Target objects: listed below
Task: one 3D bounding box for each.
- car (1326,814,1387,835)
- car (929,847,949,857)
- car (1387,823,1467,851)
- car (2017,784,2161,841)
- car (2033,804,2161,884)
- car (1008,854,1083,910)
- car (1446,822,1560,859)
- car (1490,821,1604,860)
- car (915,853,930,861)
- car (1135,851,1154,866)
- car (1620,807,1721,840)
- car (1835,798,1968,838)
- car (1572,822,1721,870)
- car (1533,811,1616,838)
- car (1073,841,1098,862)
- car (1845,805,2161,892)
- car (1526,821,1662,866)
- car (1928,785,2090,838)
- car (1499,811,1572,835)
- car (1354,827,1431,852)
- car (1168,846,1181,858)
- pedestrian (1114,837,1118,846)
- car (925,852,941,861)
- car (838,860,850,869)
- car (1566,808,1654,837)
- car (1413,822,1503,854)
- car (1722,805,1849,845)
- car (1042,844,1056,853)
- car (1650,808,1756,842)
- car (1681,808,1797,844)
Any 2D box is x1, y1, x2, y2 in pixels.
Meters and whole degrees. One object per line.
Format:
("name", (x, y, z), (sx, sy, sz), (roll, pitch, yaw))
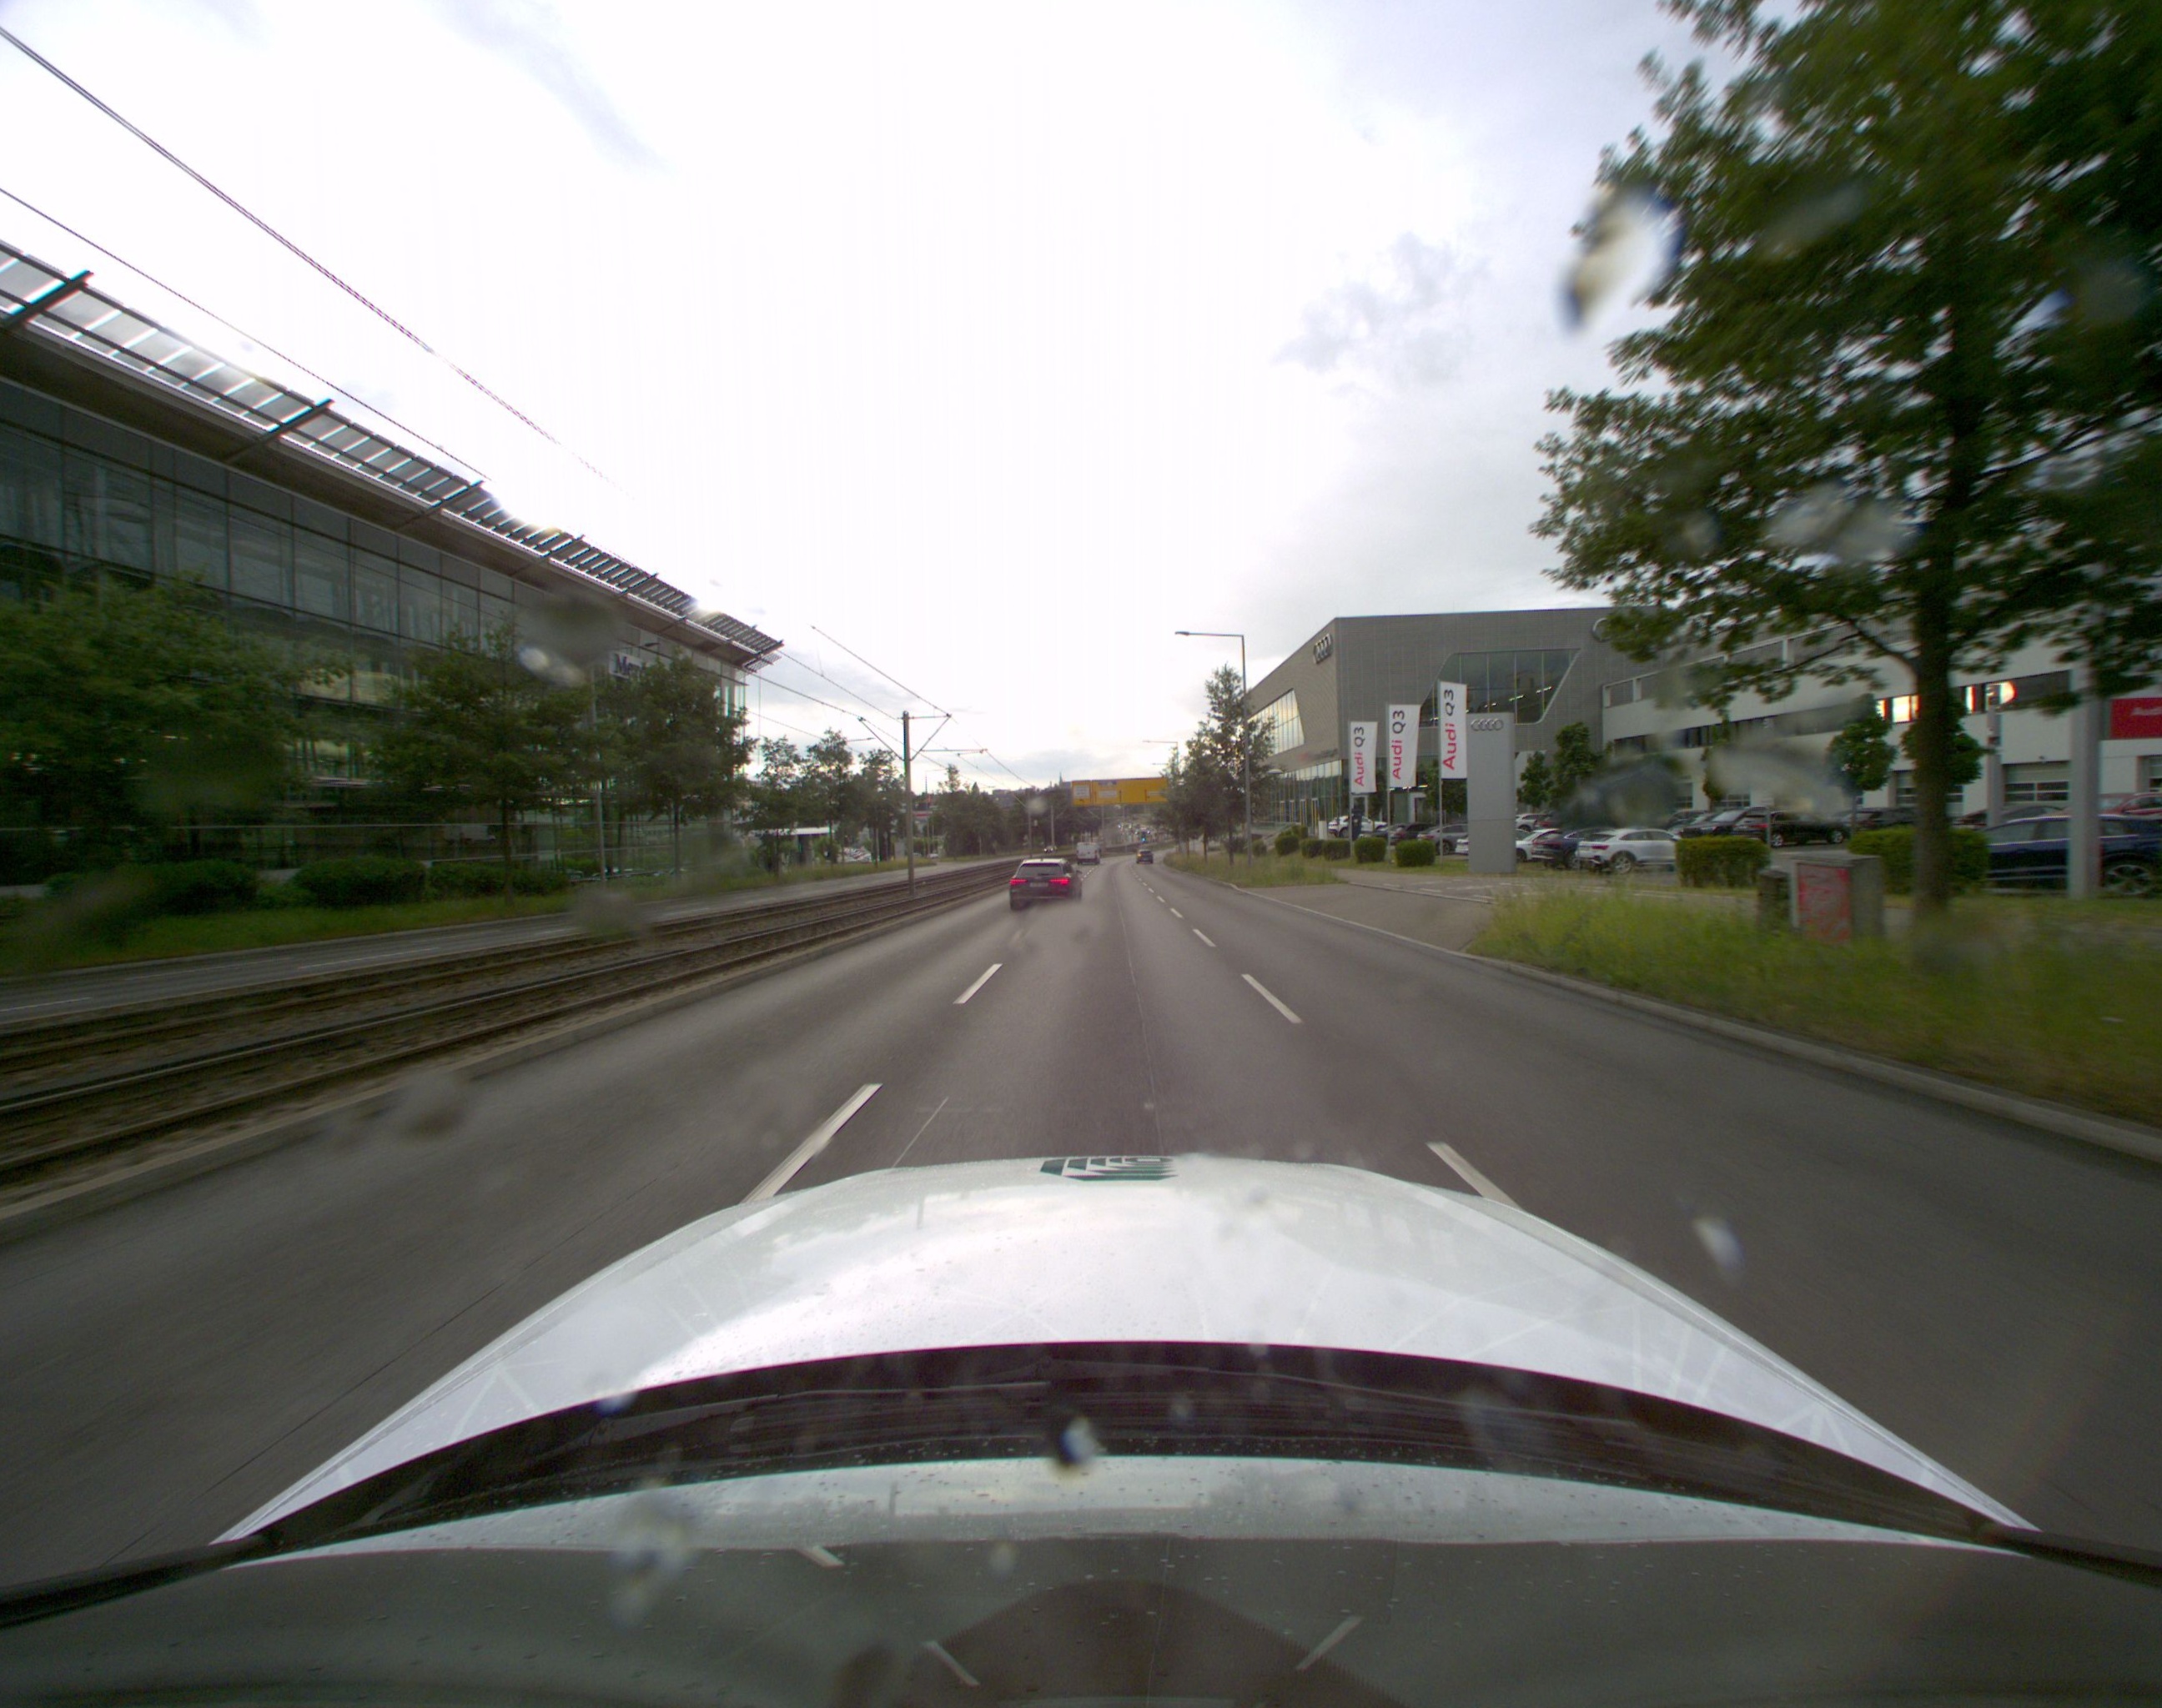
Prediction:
("car", (21.628, -2.293, 64.003), (4.244, 1.574, 1.693), (-1, 1, 0))
("car", (-22.532, -0.291, 129.326), (1.983, 1.650, 4.008), (0, -1, 7))
("car", (20.574, -1.018, 48.552), (4.091, 1.574, 1.693), (-1, 1, 0))
("car", (36.213, -1.436, 28.453), (4.505, 1.855, 2.003), (-1, 0, 5))
("car", (22.879, -0.244, 17.059), (1.778, 1.593, 3.527), (-4, 1, -30))
("car", (-0.948, 0.754, 24.136), (1.757, 1.463, 4.630), (-1, 0, 3))
("car", (19.923, -0.634, 38.576), (4.504, 1.594, 1.692), (-2, -1, 0))
("car", (20.551, -0.574, 36.013), (4.091, 1.594, 1.692), (-1, -1, 0))
("car", (-30.410, 0.570, 155.782), (2.002, 1.510, 3.969), (0, -1, -23))
("car", (6.818, 0.491, 87.893), (2.013, 1.623, 4.003), (0, -1, 3))
("car", (31.450, -1.599, 43.522), (4.091, 1.574, 1.693), (-2, 0, 0))
("car", (36.142, -1.567, 35.949), (4.090, 1.574, 1.693), (-2, 0, 1))
("car", (20.080, -0.261, 29.016), (4.101, 1.594, 1.944), (-1, -1, -7))
("car", (30.757, -1.831, 50.849), (4.091, 1.574, 1.826), (-1, 1, 0))
("car", (0.442, -0.225, 84.028), (2.503, 2.177, 5.148), (0, -1, 0))
("car", (19.392, -0.064, 17.235), (1.843, 1.593, 4.319), (-2, -1, -29))
("car", (19.867, -0.389, 31.637), (4.091, 1.594, 1.871), (-1, -1, 0))
("car", (36.149, -1.633, 31.800), (3.971, 1.876, 2.001), (-1, 1, 2))
("car", (31.458, -2.134, 56.398), (4.091, 1.574, 1.693), (-1, 1, 0))
("car", (20.552, -0.971, 53.851), (4.405, 1.574, 1.693), (-1, 1, 0))
("car", (15.500, -0.295, 134.903), (2.011, 1.769, 4.008), (-1, 3, 6))
("pedestrian", (7.781, -2.744, 180.186), (0.632, 1.854, 0.753), (0, -1, 14))
("car", (-26.214, 0.464, 144.461), (2.002, 1.510, 3.969), (0, -1, -23))
("car", (-40.192, 1.827, 137.996), (1.757, 1.494, 3.974), (0, -1, -19))
("car", (31.277, -1.869, 48.247), (4.091, 1.574, 1.693), (-2, 1, 0))
("car", (20.204, -0.862, 43.749), (4.091, 1.608, 1.693), (-1, 1, 0))
("car", (30.934, -1.271, 35.841), (4.091, 1.574, 1.692), (-1, -1, 0))
("car", (-5.986, -1.067, 152.654), (1.874, 1.520, 4.409), (-4, 1, 4))
("car", (31.653, -1.469, 41.507), (4.091, 1.574, 1.693), (-2, 1, 0))
("car", (30.988, -1.308, 38.420), (4.091, 1.574, 1.693), (-1, 0, 0))
